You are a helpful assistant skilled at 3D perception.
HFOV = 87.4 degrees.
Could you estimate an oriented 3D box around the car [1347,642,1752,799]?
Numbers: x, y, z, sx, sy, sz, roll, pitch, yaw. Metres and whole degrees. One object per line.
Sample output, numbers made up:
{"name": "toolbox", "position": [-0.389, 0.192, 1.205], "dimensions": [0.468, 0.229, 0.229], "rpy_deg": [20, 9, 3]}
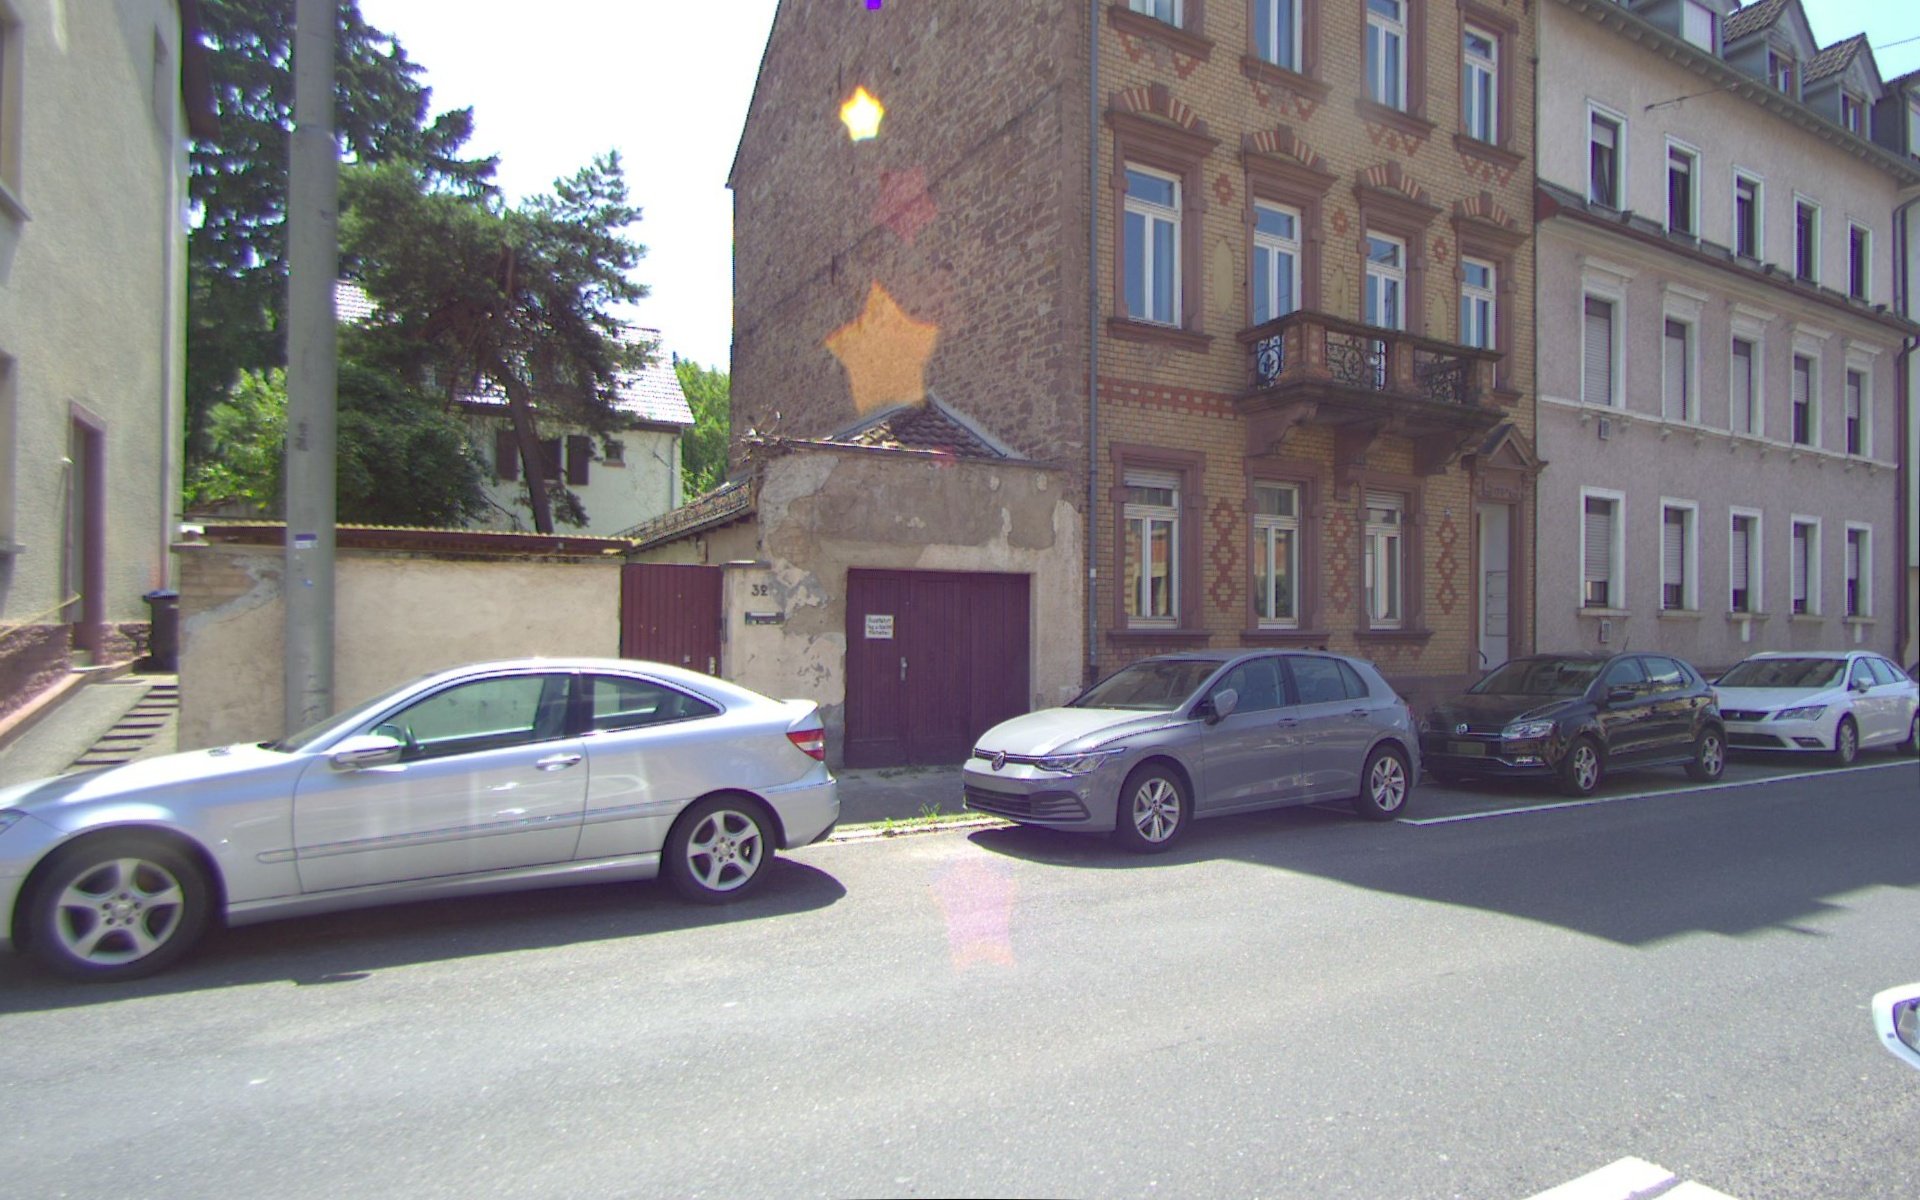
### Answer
{"name": "car", "position": [6.611, 1.250, 11.195], "dimensions": [4.447, 1.440, 1.833], "rpy_deg": [2, -5, -29]}

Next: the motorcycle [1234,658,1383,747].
{"name": "motorcycle", "position": [4.573, 1.309, 13.158], "dimensions": [1.911, 1.067, 0.710], "rpy_deg": [2, -1, -26]}

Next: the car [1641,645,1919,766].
{"name": "car", "position": [11.585, 1.380, 13.959], "dimensions": [4.452, 1.441, 1.830], "rpy_deg": [2, -4, -32]}

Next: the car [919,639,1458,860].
{"name": "car", "position": [2.035, 1.136, 8.573], "dimensions": [4.451, 1.440, 1.831], "rpy_deg": [2, -6, -31]}

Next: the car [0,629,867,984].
{"name": "car", "position": [-2.935, 0.938, 5.753], "dimensions": [4.450, 1.441, 1.831], "rpy_deg": [2, -4, -30]}

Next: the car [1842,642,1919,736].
{"name": "car", "position": [16.756, 1.452, 16.720], "dimensions": [4.594, 1.441, 1.830], "rpy_deg": [2, -4, -32]}
